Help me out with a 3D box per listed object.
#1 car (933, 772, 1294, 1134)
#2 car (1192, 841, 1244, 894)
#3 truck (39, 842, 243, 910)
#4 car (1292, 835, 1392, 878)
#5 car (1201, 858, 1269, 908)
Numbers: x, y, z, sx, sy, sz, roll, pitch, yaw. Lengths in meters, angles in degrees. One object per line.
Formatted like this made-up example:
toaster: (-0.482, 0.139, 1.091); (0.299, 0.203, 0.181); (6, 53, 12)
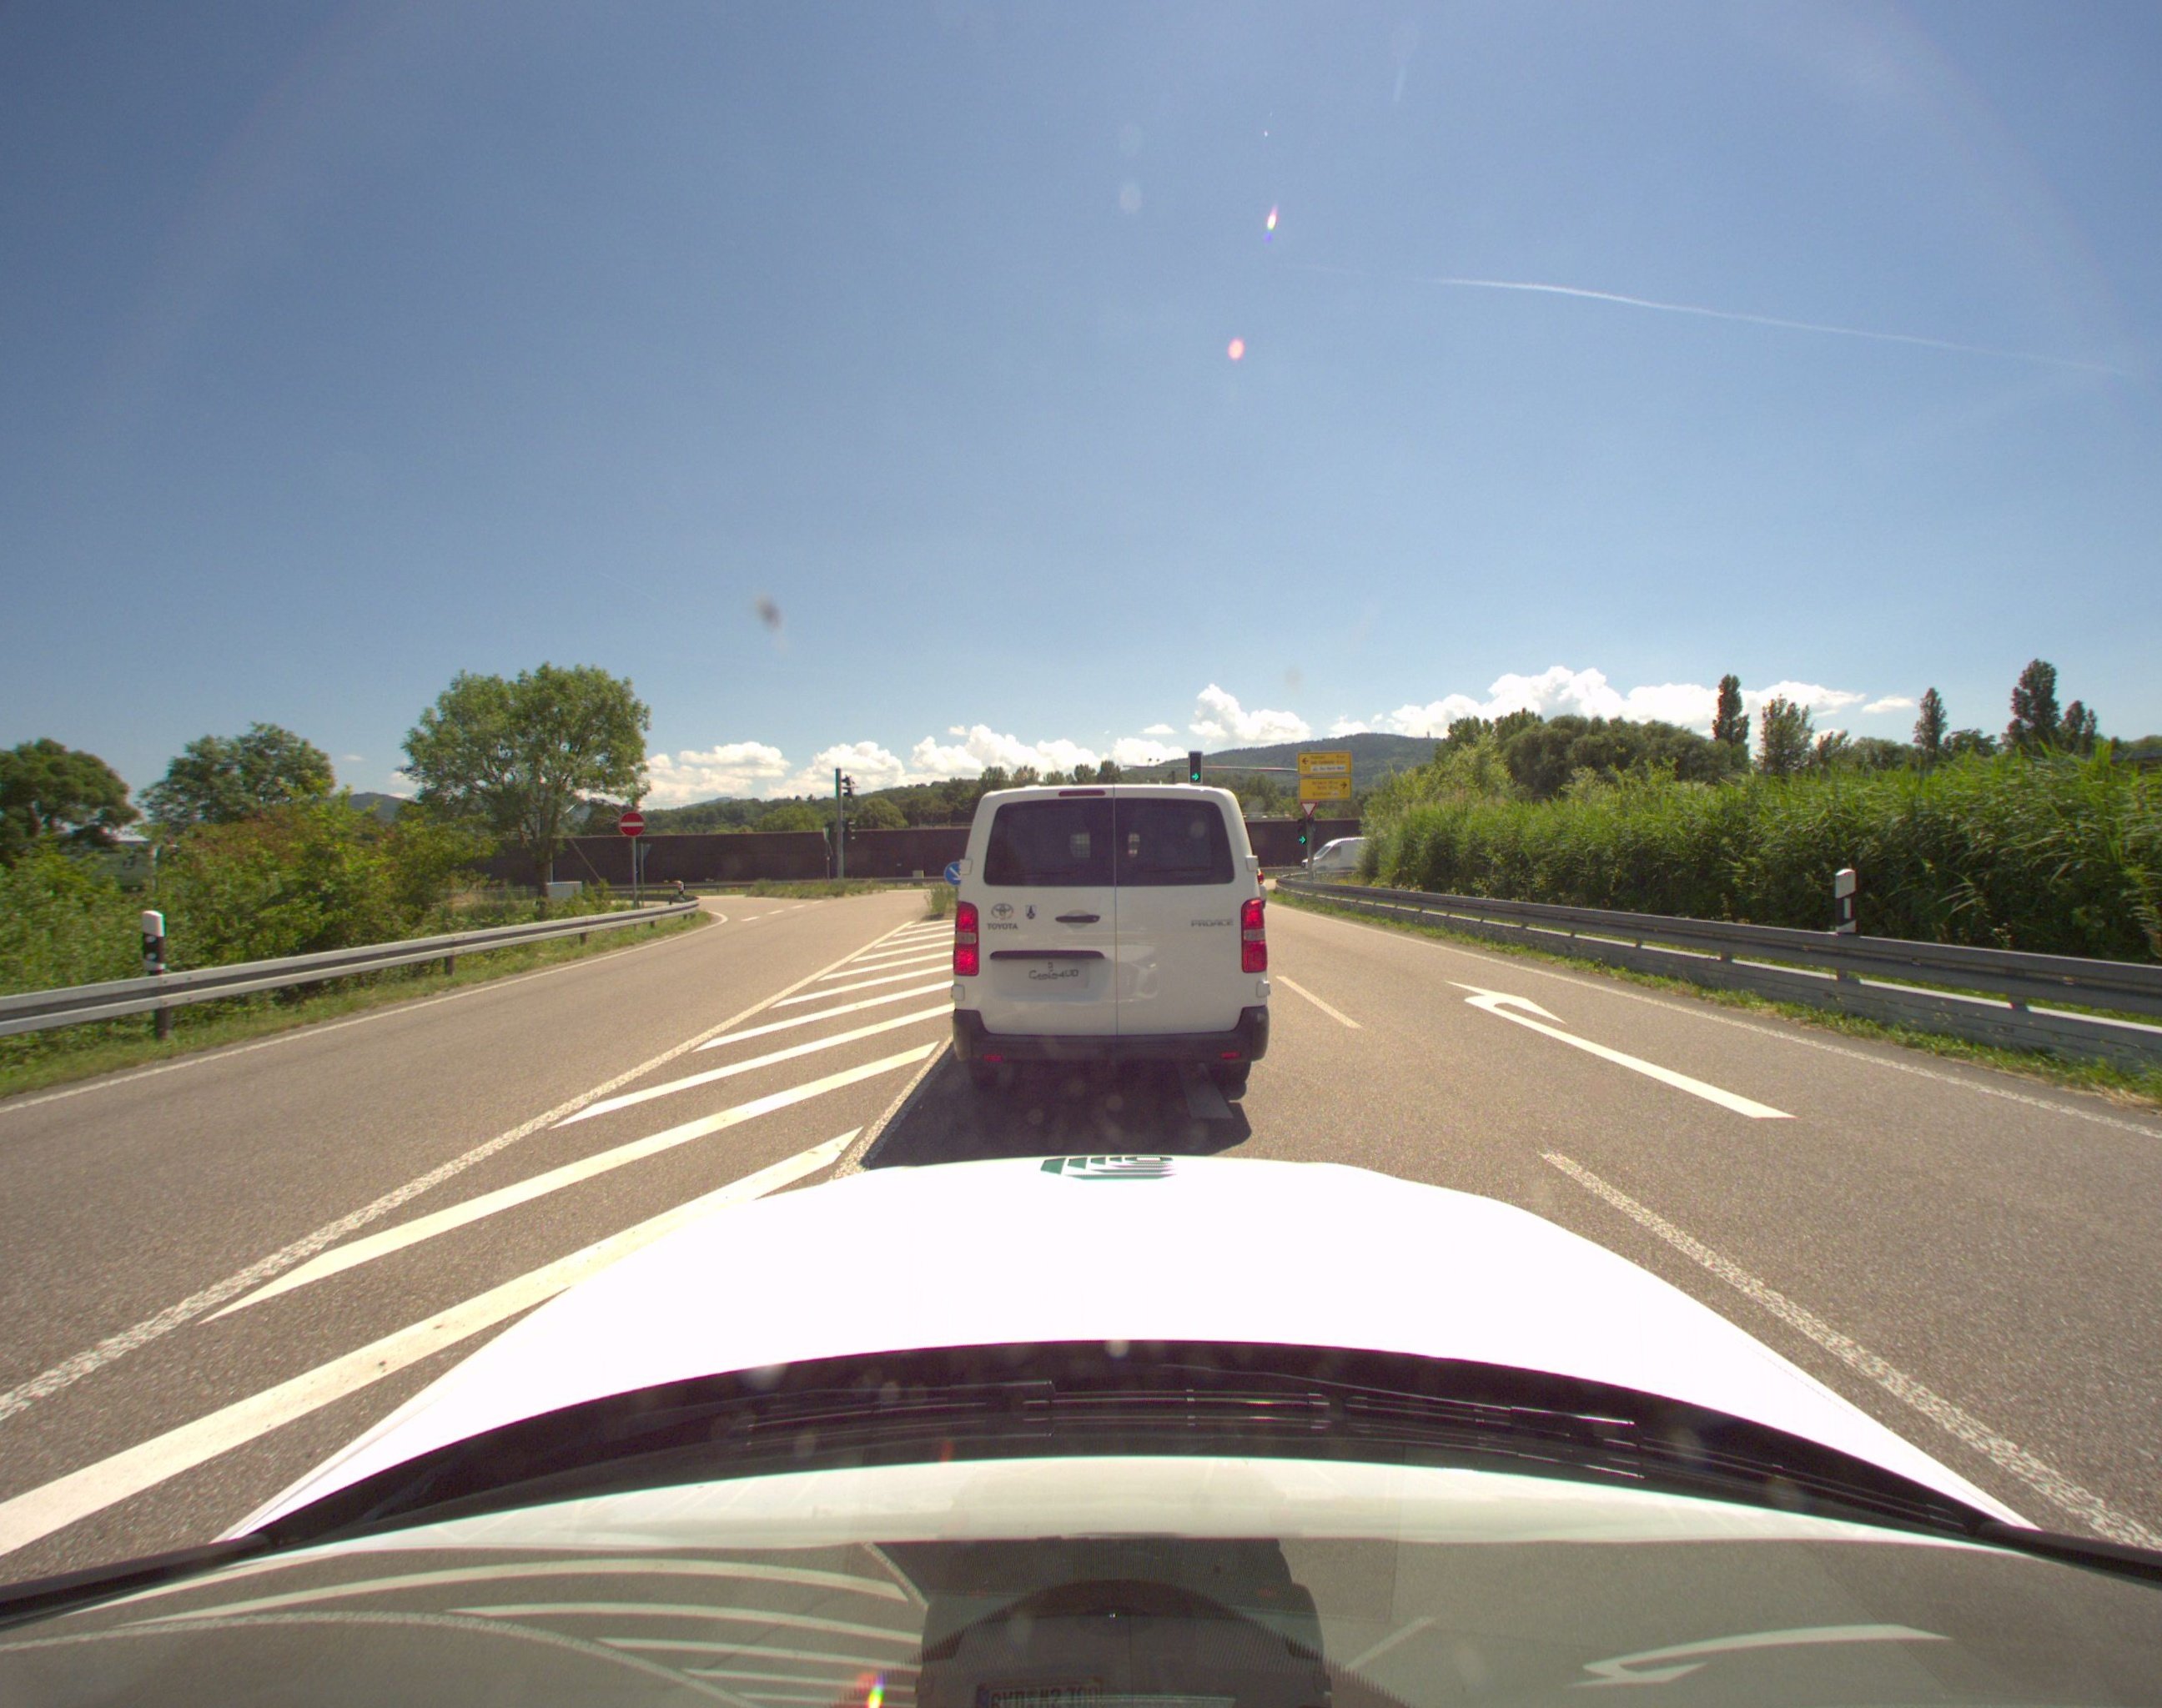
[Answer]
car: (0.214, 0.538, 6.297); (1.880, 1.886, 4.001); (-1, -1, 1)
car: (5.769, 0.536, 33.776); (1.916, 2.000, 4.853); (-1, -1, 12)
truck: (-51.221, 1.198, 44.459); (9.028, 3.470, 2.128); (-1, -1, 3)
car: (15.712, 0.168, 49.207); (5.328, 2.450, 2.039); (-1, -1, -1)
car: (4.733, 0.847, 25.352); (1.649, 1.431, 3.368); (-1, -1, 3)
